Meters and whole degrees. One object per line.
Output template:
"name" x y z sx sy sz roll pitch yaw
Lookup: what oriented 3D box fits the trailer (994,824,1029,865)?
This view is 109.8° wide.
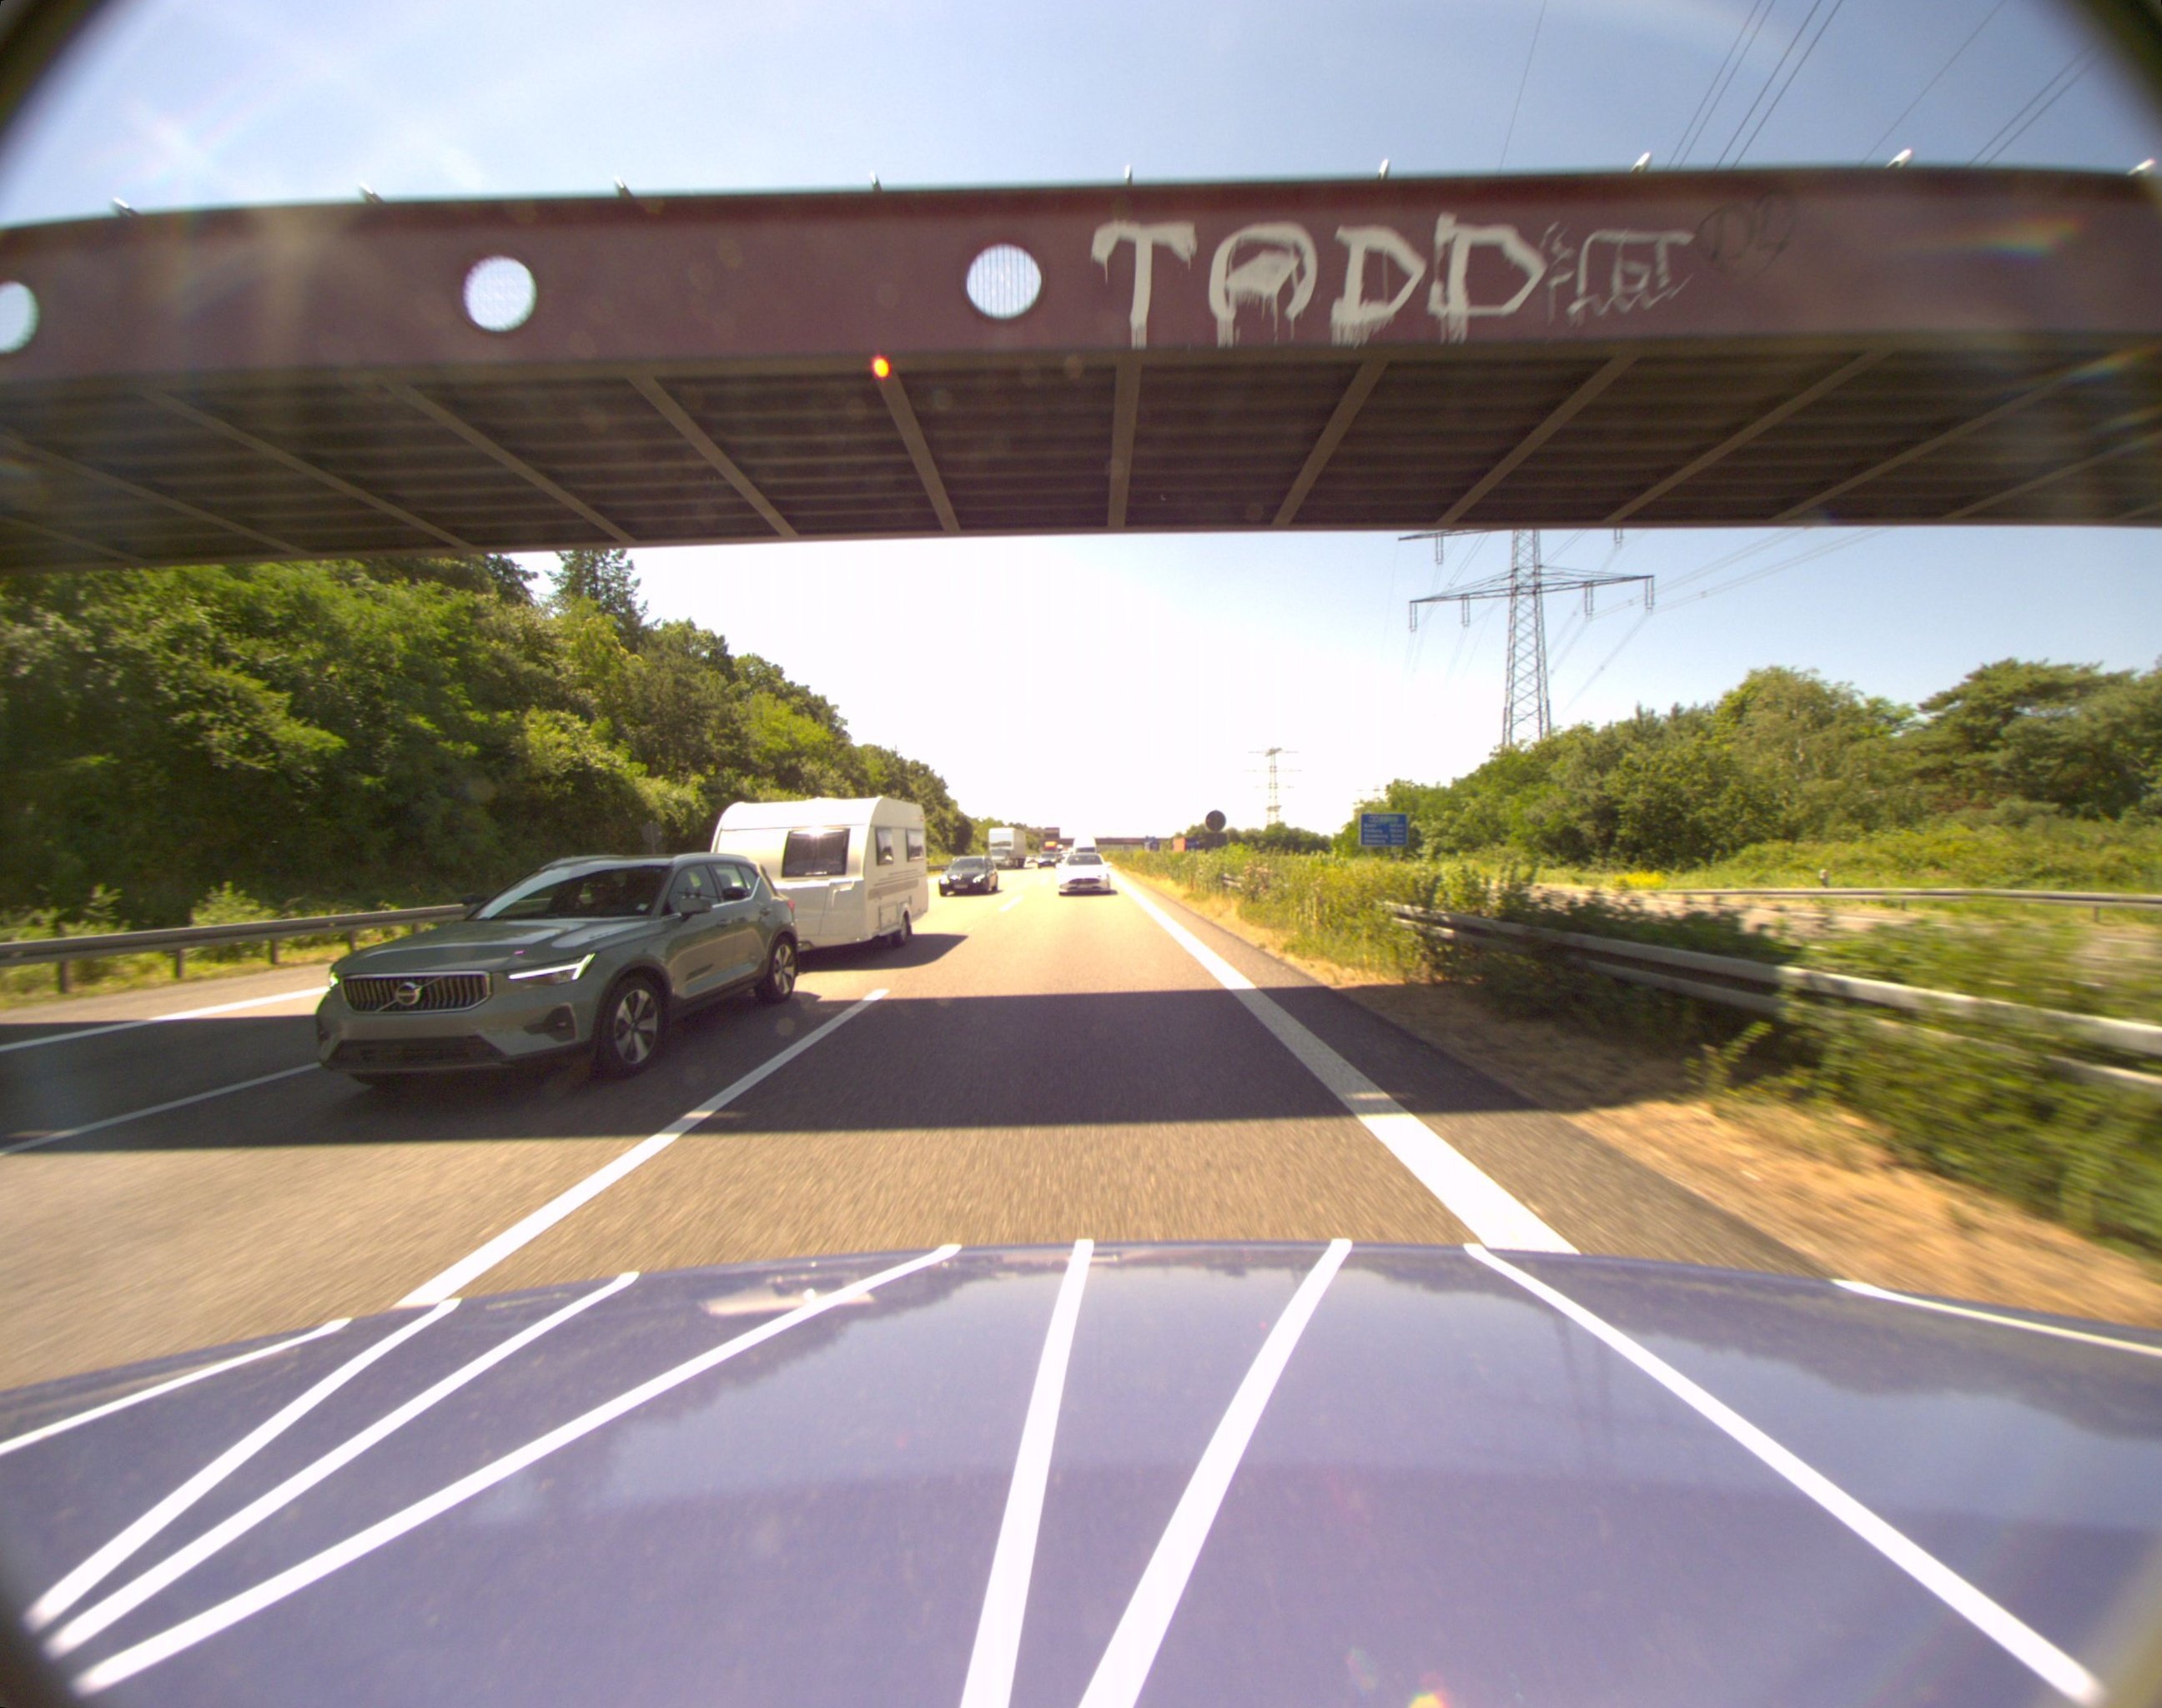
"trailer" -7.521 -0.998 83.512 2.736 4.079 13.186 -1 0 -1

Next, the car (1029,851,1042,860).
"car" -6.956 0.206 116.965 1.840 1.403 4.558 -2 0 -1

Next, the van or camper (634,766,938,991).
"van or camper" -4.124 0.282 12.275 2.445 2.659 6.349 -1 0 -1

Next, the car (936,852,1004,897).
"car" -4.307 0.749 30.244 1.845 1.497 4.737 -2 1 2

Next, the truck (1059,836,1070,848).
"truck" -5.407 -4.057 253.479 3.507 3.891 9.645 -1 1 -2

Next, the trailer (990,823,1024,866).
"trailer" -7.415 -0.913 76.545 2.720 4.079 6.787 -1 1 -1

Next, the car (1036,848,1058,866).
"car" -3.411 0.261 76.545 1.984 1.671 4.558 -1 0 -1

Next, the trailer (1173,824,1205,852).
"trailer" 18.655 -2.731 132.473 3.352 4.382 14.164 4 0 1

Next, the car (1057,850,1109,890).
"car" 0.052 0.603 31.282 1.984 1.525 4.558 0 0 -1

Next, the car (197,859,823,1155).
"car" -4.106 0.906 6.753 1.884 1.603 4.701 -2 1 1

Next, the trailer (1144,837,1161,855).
"trailer" 18.747 -2.030 199.562 3.095 4.382 14.230 2 0 0

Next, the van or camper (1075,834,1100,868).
"van or camper" 0.592 -0.257 66.100 1.998 2.740 5.410 -2 0 1

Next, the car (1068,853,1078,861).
"car" -1.526 0.503 142.834 1.984 1.525 4.137 -1 0 -1

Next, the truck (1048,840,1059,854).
"truck" -6.628 -1.698 183.512 2.582 3.204 5.712 -3 1 -1

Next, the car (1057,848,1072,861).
"car" -2.218 0.037 101.586 1.984 1.671 4.557 0 1 -1
